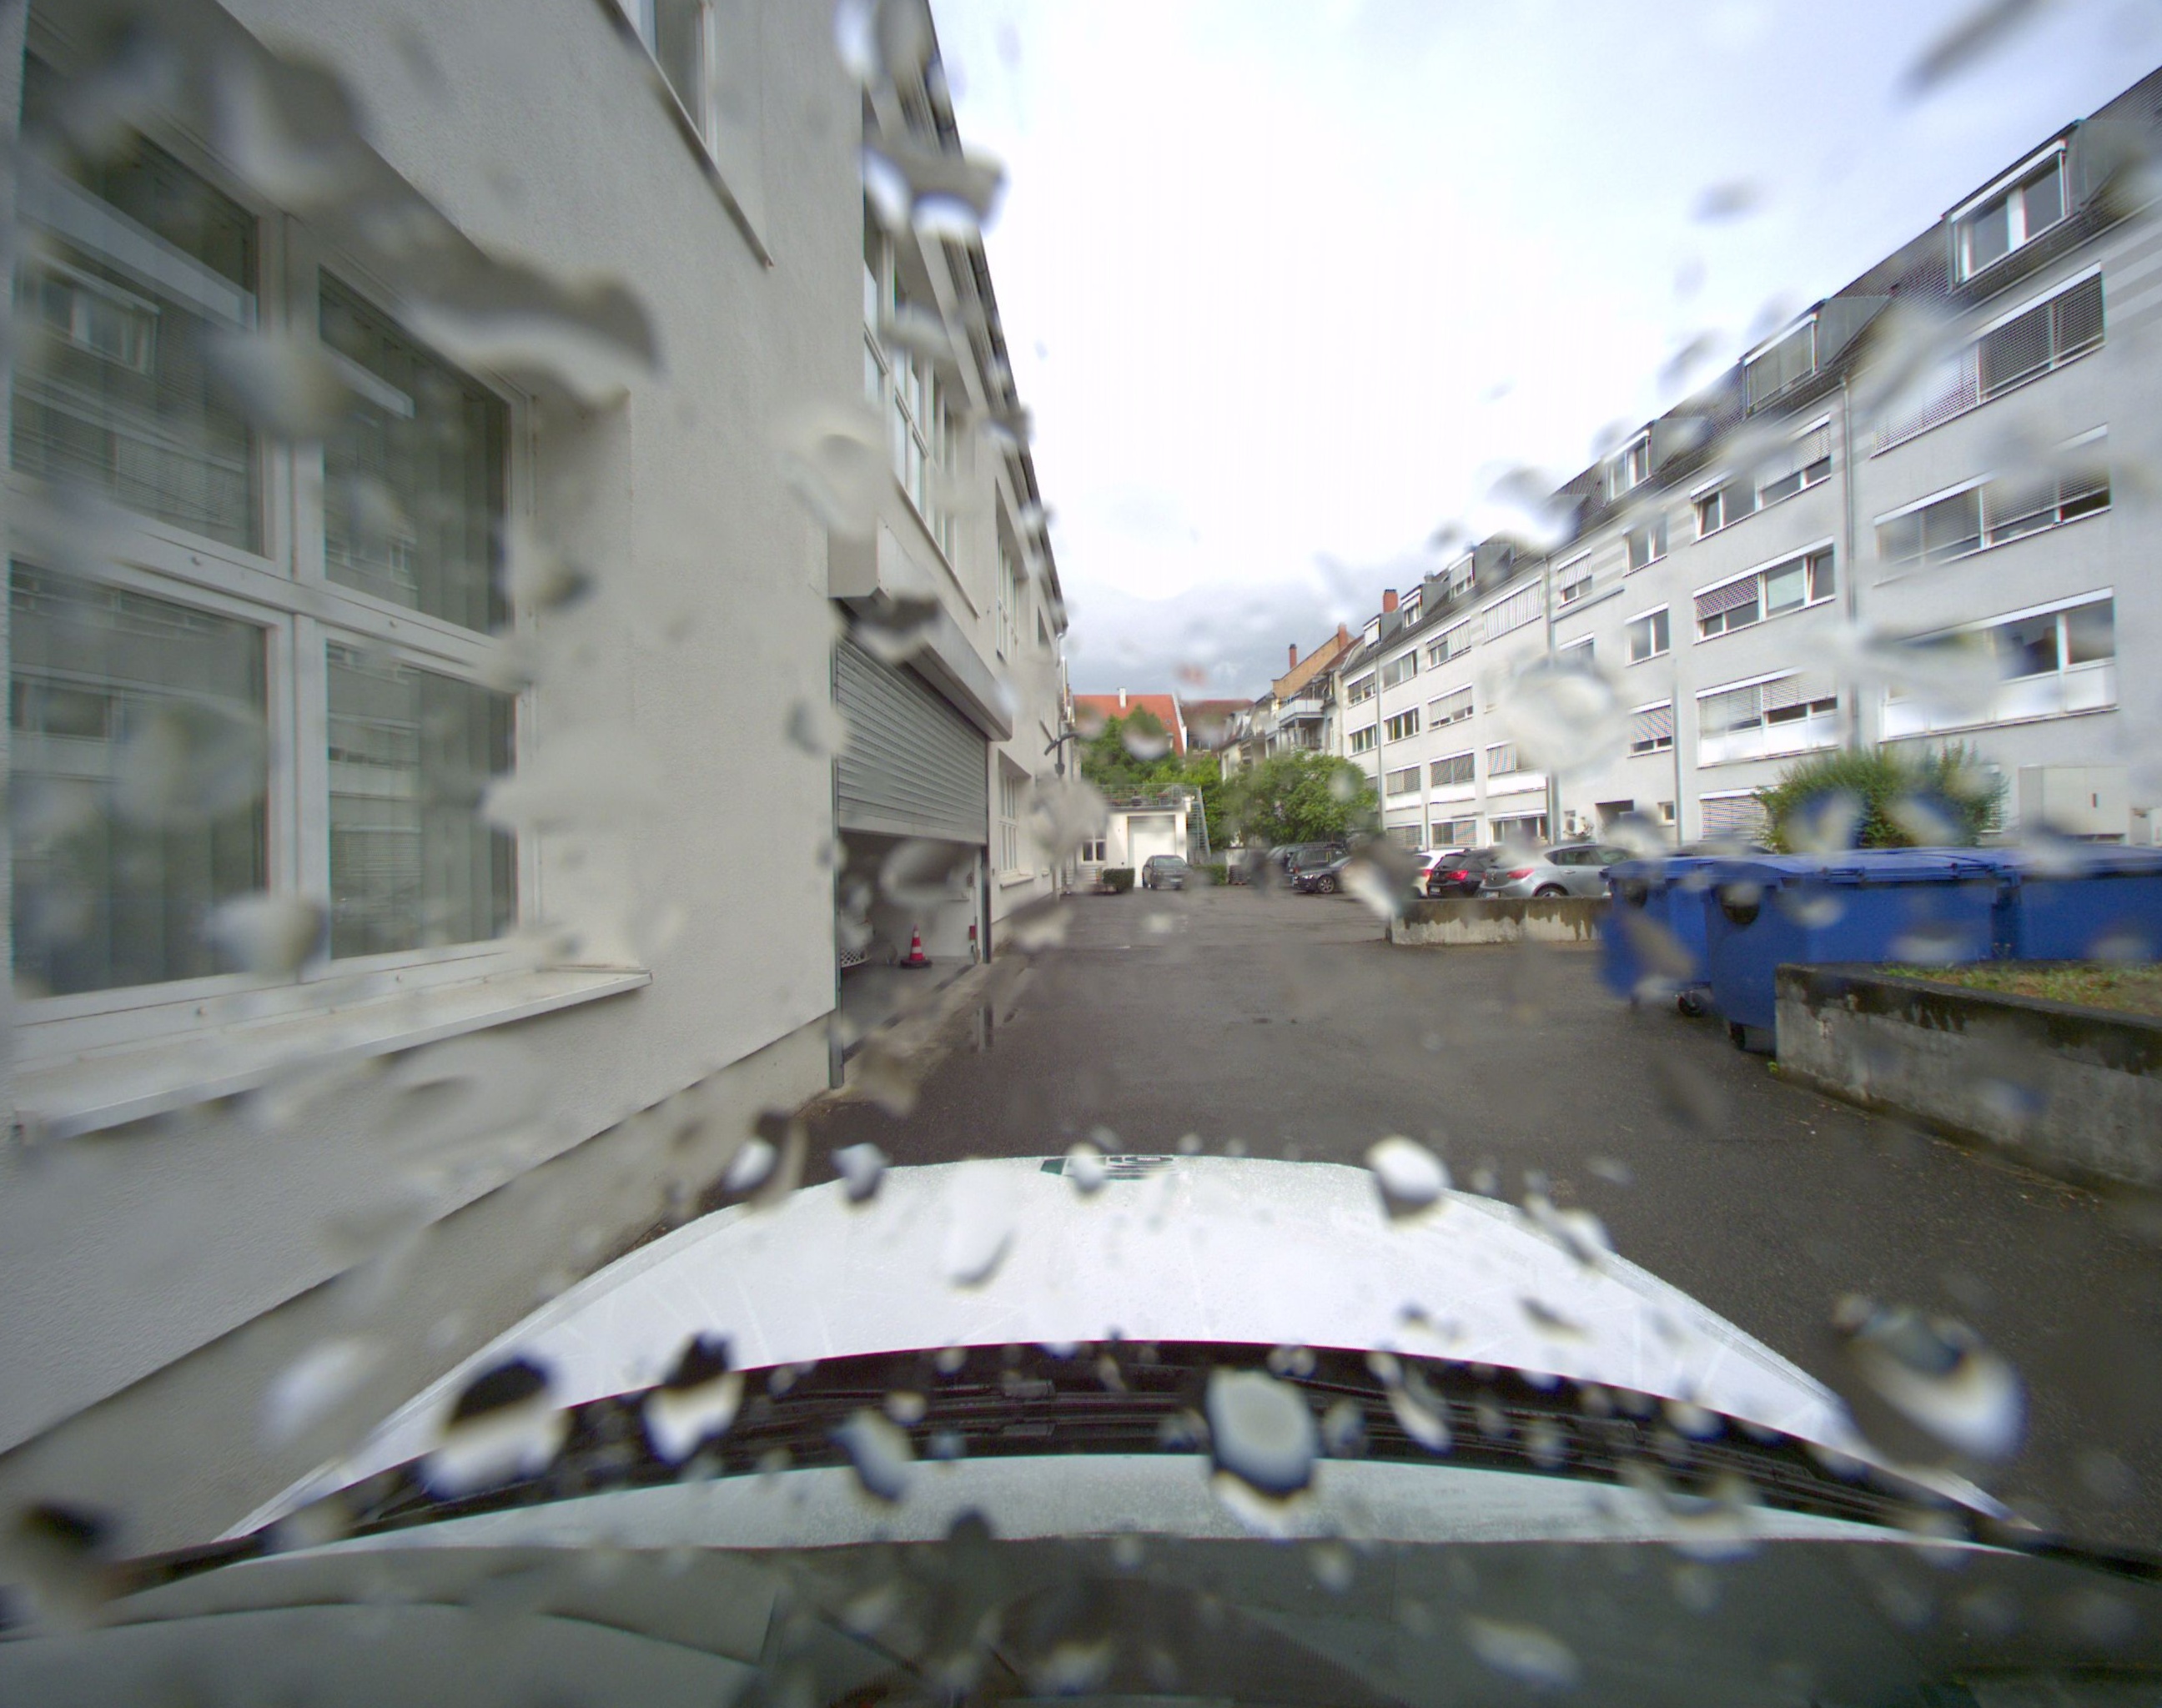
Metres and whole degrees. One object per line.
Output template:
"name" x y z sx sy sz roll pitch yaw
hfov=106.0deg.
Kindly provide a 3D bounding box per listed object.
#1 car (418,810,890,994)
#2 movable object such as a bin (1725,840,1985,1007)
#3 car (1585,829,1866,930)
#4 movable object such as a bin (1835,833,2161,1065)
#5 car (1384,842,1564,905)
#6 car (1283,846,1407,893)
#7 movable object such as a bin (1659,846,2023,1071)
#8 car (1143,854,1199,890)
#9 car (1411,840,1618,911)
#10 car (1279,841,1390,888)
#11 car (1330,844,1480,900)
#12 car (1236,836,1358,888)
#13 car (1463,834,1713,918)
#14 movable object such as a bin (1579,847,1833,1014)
"car" -4.958 0.536 10.012 4.672 2.014 2.085 0 0 1
"movable object such as a bin" 6.694 0.567 7.139 1.180 1.304 1.107 -2 -1 3
"car" 10.826 0.424 13.855 3.405 1.427 1.687 -3 -1 -1
"movable object such as a bin" 6.236 0.565 5.416 1.287 1.336 1.198 -2 -1 4
"car" 10.453 0.503 21.846 3.978 1.458 1.771 -2 -1 -4
"car" 9.591 0.558 29.767 3.900 1.513 1.750 -3 -1 -3
"movable object such as a bin" 4.906 0.634 5.399 1.331 1.292 1.096 -2 -1 4
"car" 3.861 0.750 35.562 1.973 1.444 4.000 -1 0 0
"car" 10.213 0.488 19.361 3.978 1.403 1.771 -3 0 -3
"car" 10.239 0.413 33.044 3.896 1.687 1.817 -3 -1 0
"car" 9.974 0.546 25.238 3.903 1.513 1.816 -3 -1 -6
"car" 9.457 0.333 35.835 4.633 2.003 2.219 -3 0 -9
"car" 10.251 0.432 16.687 3.976 1.445 1.806 -3 -1 -2
"movable object such as a bin" 5.399 0.629 7.156 1.366 1.304 1.084 -2 -1 4
